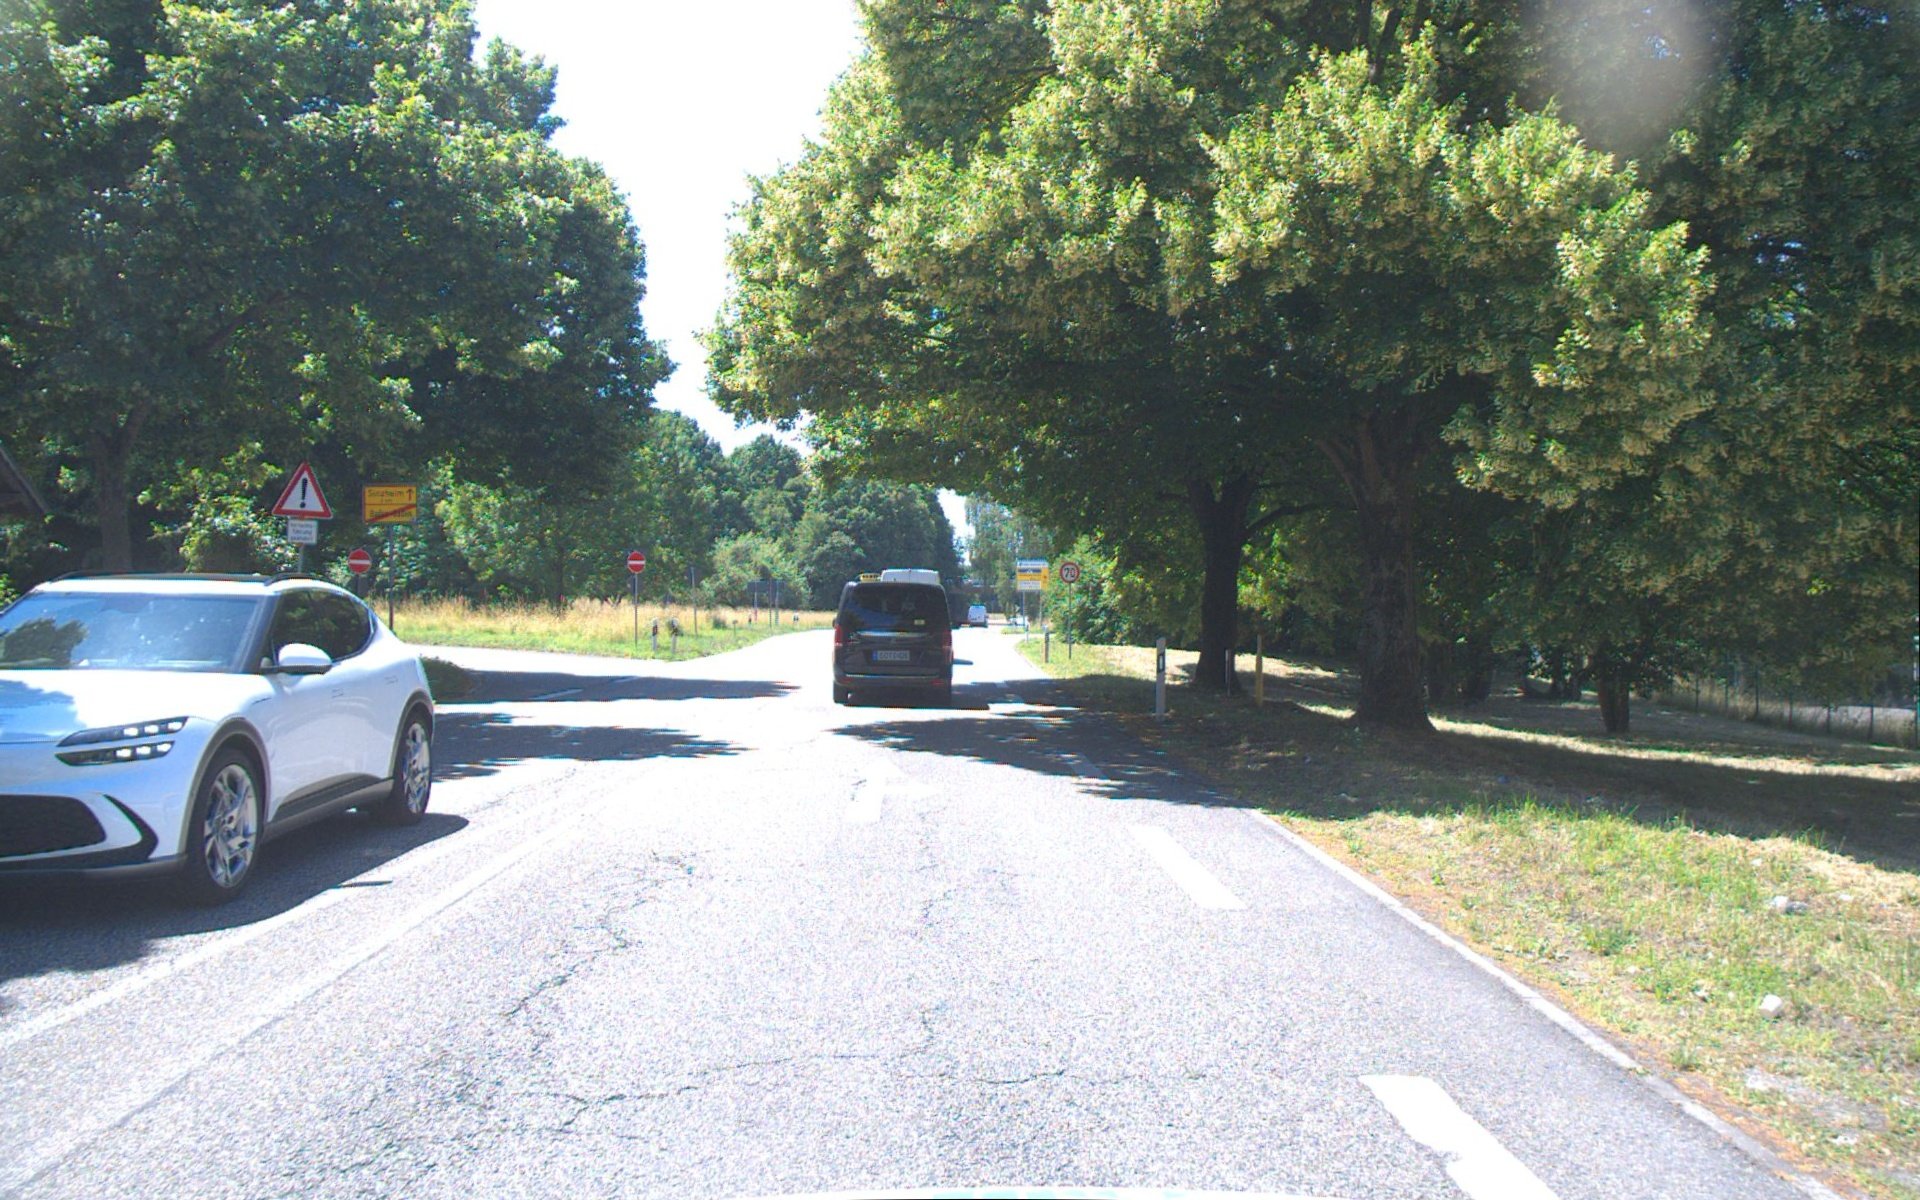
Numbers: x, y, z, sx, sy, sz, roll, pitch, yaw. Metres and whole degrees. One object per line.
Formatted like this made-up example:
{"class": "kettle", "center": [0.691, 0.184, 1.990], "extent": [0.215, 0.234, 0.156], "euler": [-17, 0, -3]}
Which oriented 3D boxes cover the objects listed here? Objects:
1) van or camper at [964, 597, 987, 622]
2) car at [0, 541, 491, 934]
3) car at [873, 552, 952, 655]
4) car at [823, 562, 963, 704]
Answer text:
{"class": "van or camper", "center": [1.929, 1.201, 203.472], "extent": [2.578, 2.980, 5.205], "euler": [2, -1, -1]}
{"class": "car", "center": [-4.297, 0.576, 9.210], "extent": [2.052, 1.616, 4.474], "euler": [3, -1, -1]}
{"class": "car", "center": [-1.339, 0.125, 48.213], "extent": [2.036, 2.750, 4.666], "euler": [3, -1, 0]}
{"class": "car", "center": [-0.988, 0.518, 26.865], "extent": [1.953, 1.987, 5.004], "euler": [3, -1, 0]}
